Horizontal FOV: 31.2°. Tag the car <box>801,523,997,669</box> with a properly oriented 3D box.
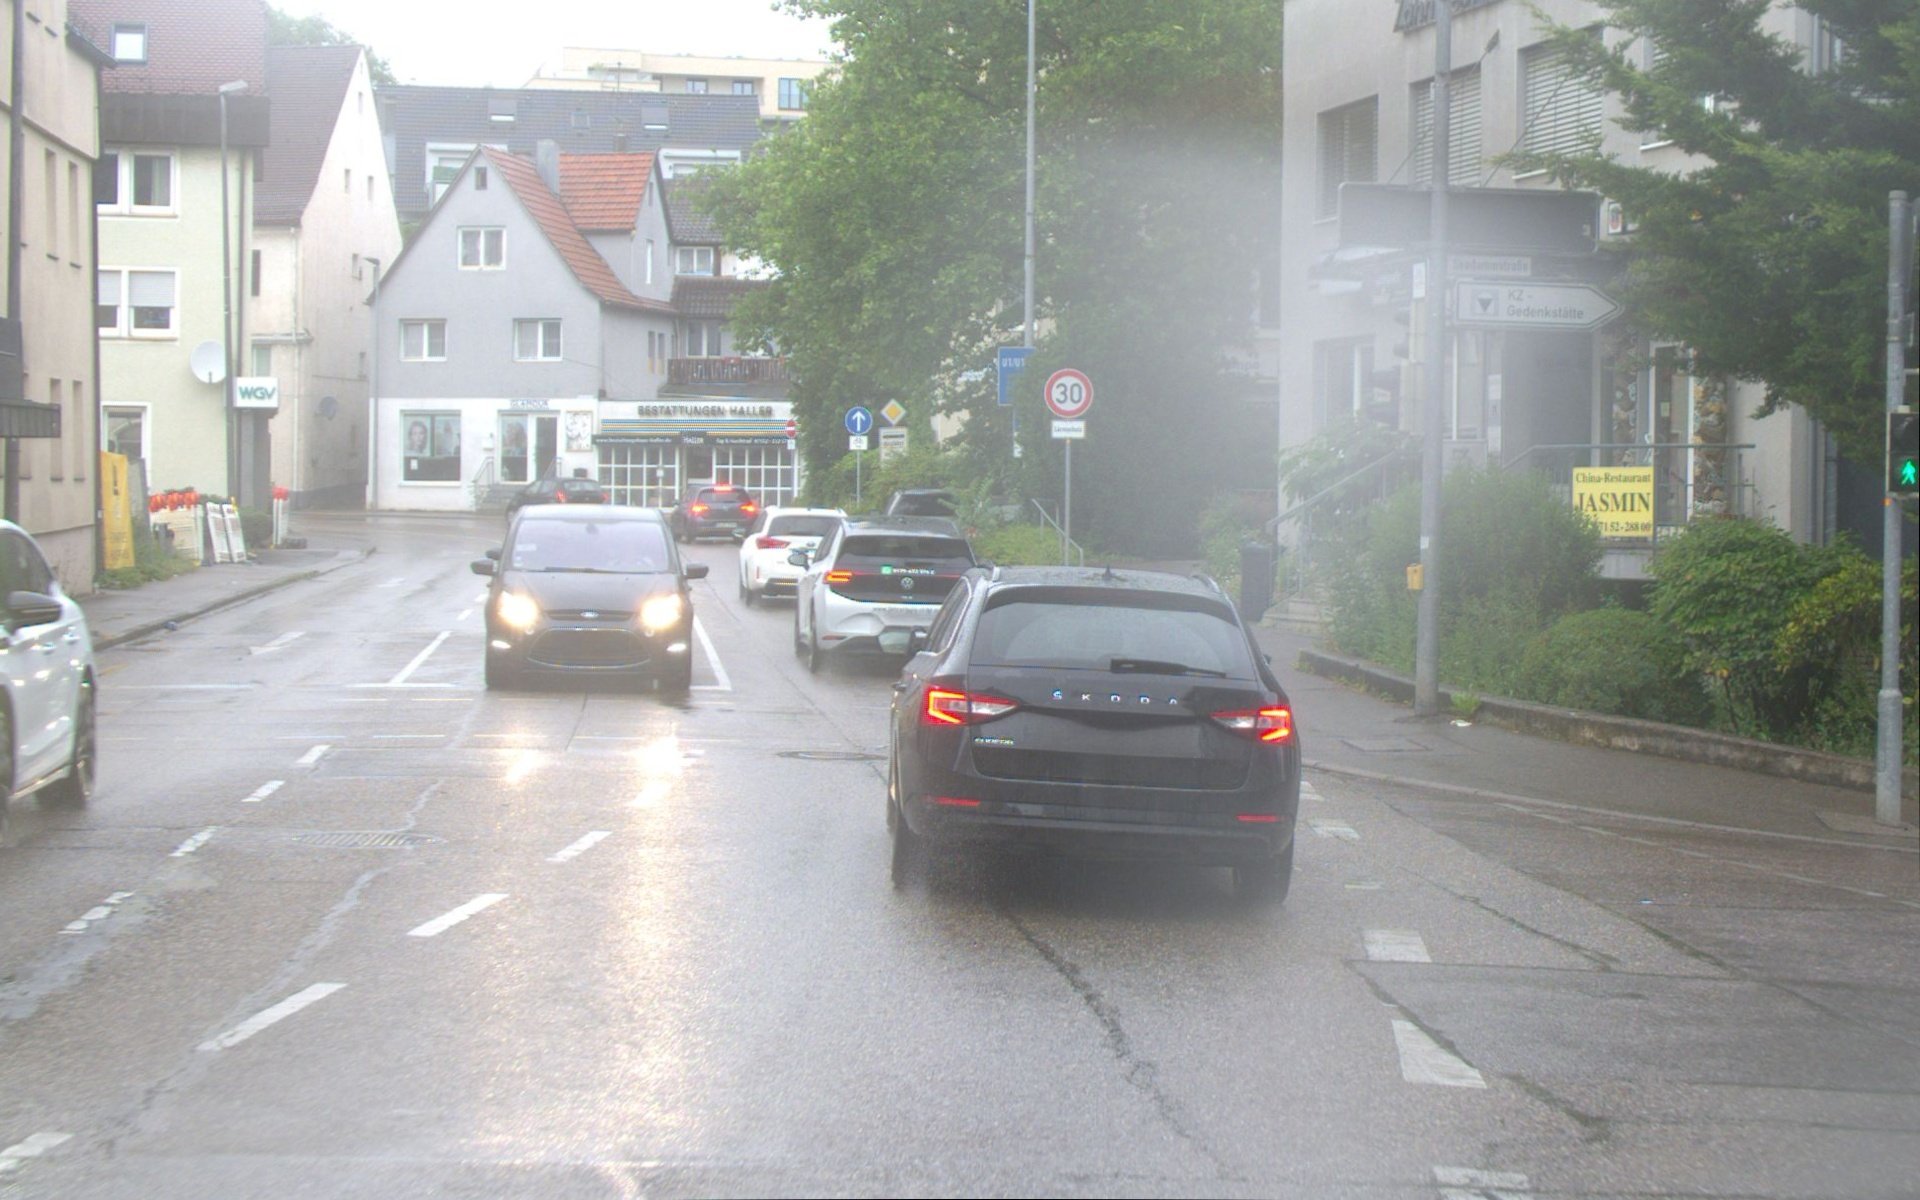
[{"bbox_3d":[-0.673,-0.078,34.815,1.817,1.355,3.990,1,1,-3],"label":"car"}]

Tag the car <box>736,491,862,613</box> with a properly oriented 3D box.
[{"bbox_3d":[-2.410,-0.664,50.689,1.727,1.585,4.184,2,-1,-4],"label":"car"}]

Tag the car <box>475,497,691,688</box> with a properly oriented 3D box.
[{"bbox_3d":[-3.453,-0.127,31.447,1.784,1.557,4.403,2,2,-6],"label":"car"}]

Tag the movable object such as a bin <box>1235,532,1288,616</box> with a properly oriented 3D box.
[{"bbox_3d":[3.650,-0.318,41.584,0.512,0.942,0.602,4,6,13],"label":"movable object such as a bin"}]

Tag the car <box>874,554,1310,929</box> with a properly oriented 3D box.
[{"bbox_3d":[0.720,0.563,16.548,1.782,1.478,4.245,2,1,5],"label":"car"}]

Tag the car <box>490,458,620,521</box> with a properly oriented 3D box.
[{"bbox_3d":[-11.442,-3.098,96.918,1.893,1.676,3.687,-1,1,-41],"label":"car"}]

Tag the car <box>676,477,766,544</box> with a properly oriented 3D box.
[{"bbox_3d":[-5.871,-2.181,84.272,1.892,1.585,3.689,0,1,-9],"label":"car"}]

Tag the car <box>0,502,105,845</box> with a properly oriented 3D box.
[{"bbox_3d":[-5.459,0.302,17.085,1.784,1.555,4.338,0,2,-6],"label":"car"}]

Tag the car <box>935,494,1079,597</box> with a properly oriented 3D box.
[{"bbox_3d":[0.749,-0.928,56.937,1.852,1.635,3.539,0,2,-8],"label":"car"}]

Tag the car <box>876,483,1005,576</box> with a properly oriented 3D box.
[{"bbox_3d":[-0.396,-1.308,62.863,1.852,1.635,3.872,0,2,-8],"label":"car"}]
